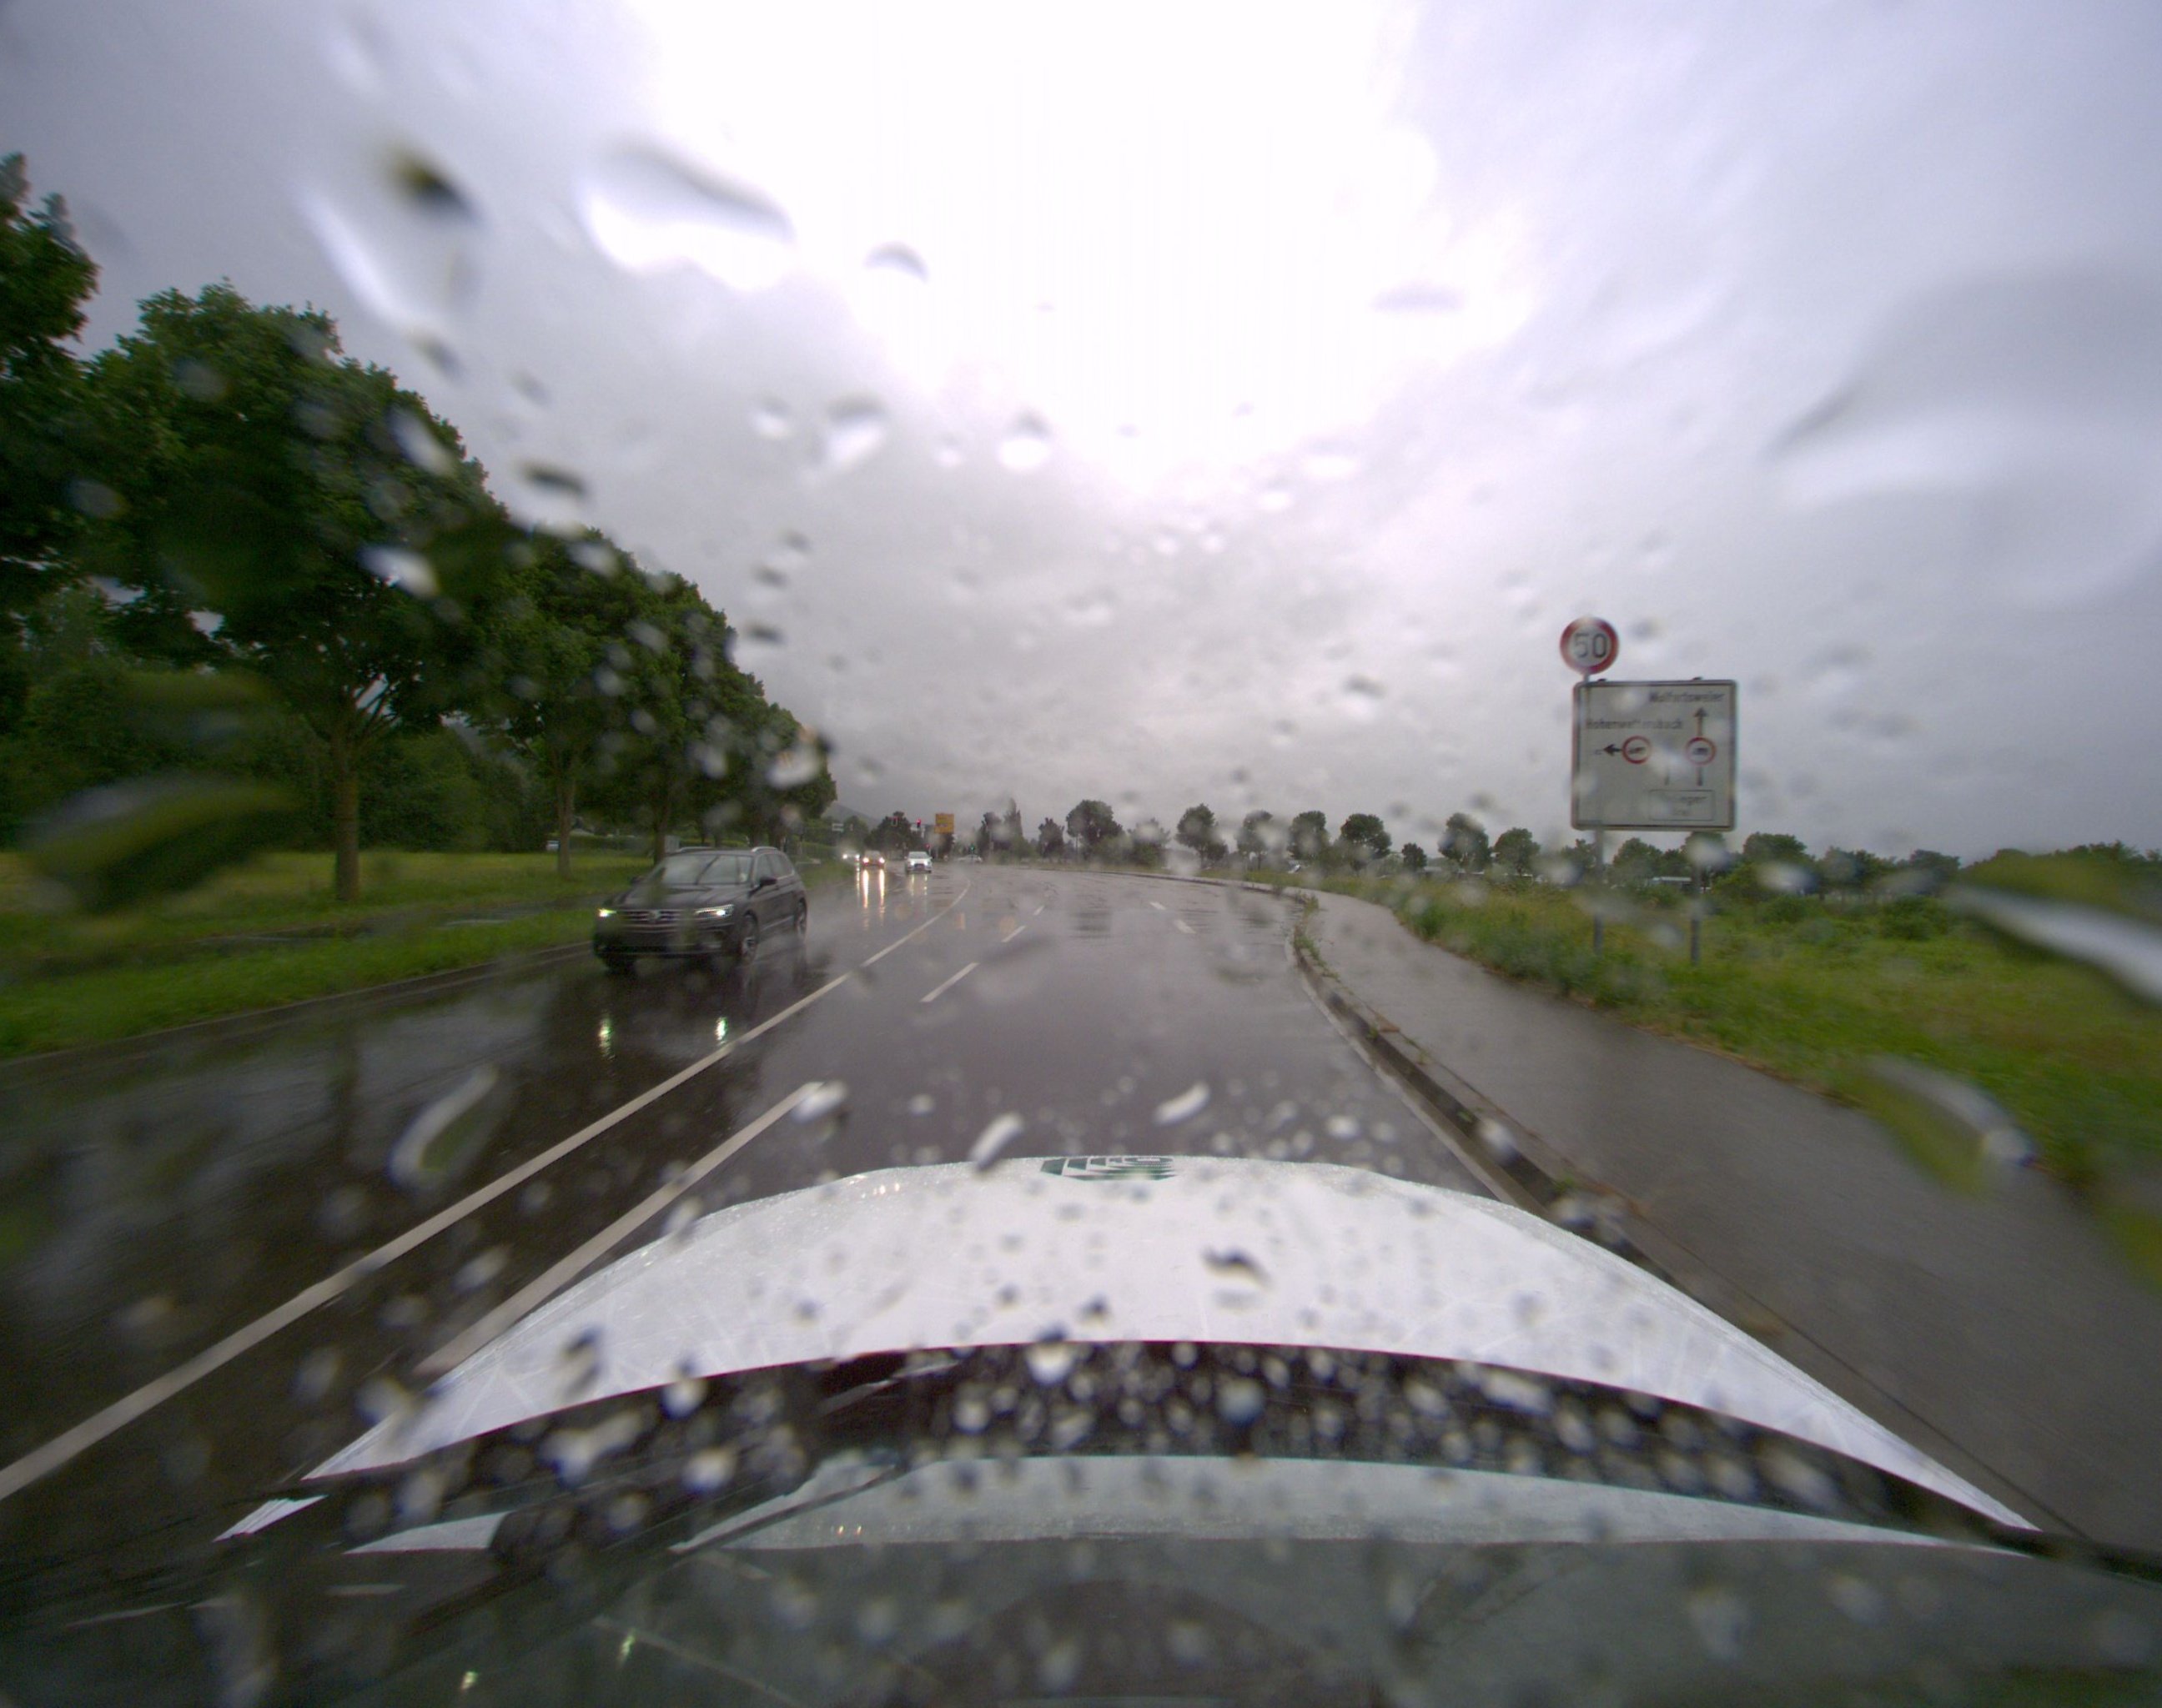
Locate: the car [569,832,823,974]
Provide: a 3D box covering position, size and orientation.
[{"bbox_3d":[-5.469,0.603,12.287,1.919,1.743,4.284,0,0,-3],"label":"car"}]

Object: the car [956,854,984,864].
[{"bbox_3d":[-18.504,0.815,135.698,4.378,1.579,1.725,2,0,-12],"label":"car"}]

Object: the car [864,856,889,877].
[{"bbox_3d":[-17.404,1.057,69.413,1.885,1.587,4.102,3,-1,-12],"label":"car"}]

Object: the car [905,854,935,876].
[{"bbox_3d":[-11.264,0.736,57.174,1.737,1.487,4.001,0,0,-7],"label":"car"}]

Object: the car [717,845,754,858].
[{"bbox_3d":[-47.599,-0.346,112.161,4.380,1.579,1.725,2,0,-13],"label":"car"}]

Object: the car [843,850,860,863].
[{"bbox_3d":[-27.251,0.302,96.846,1.883,1.573,4.619,0,0,-16],"label":"car"}]
